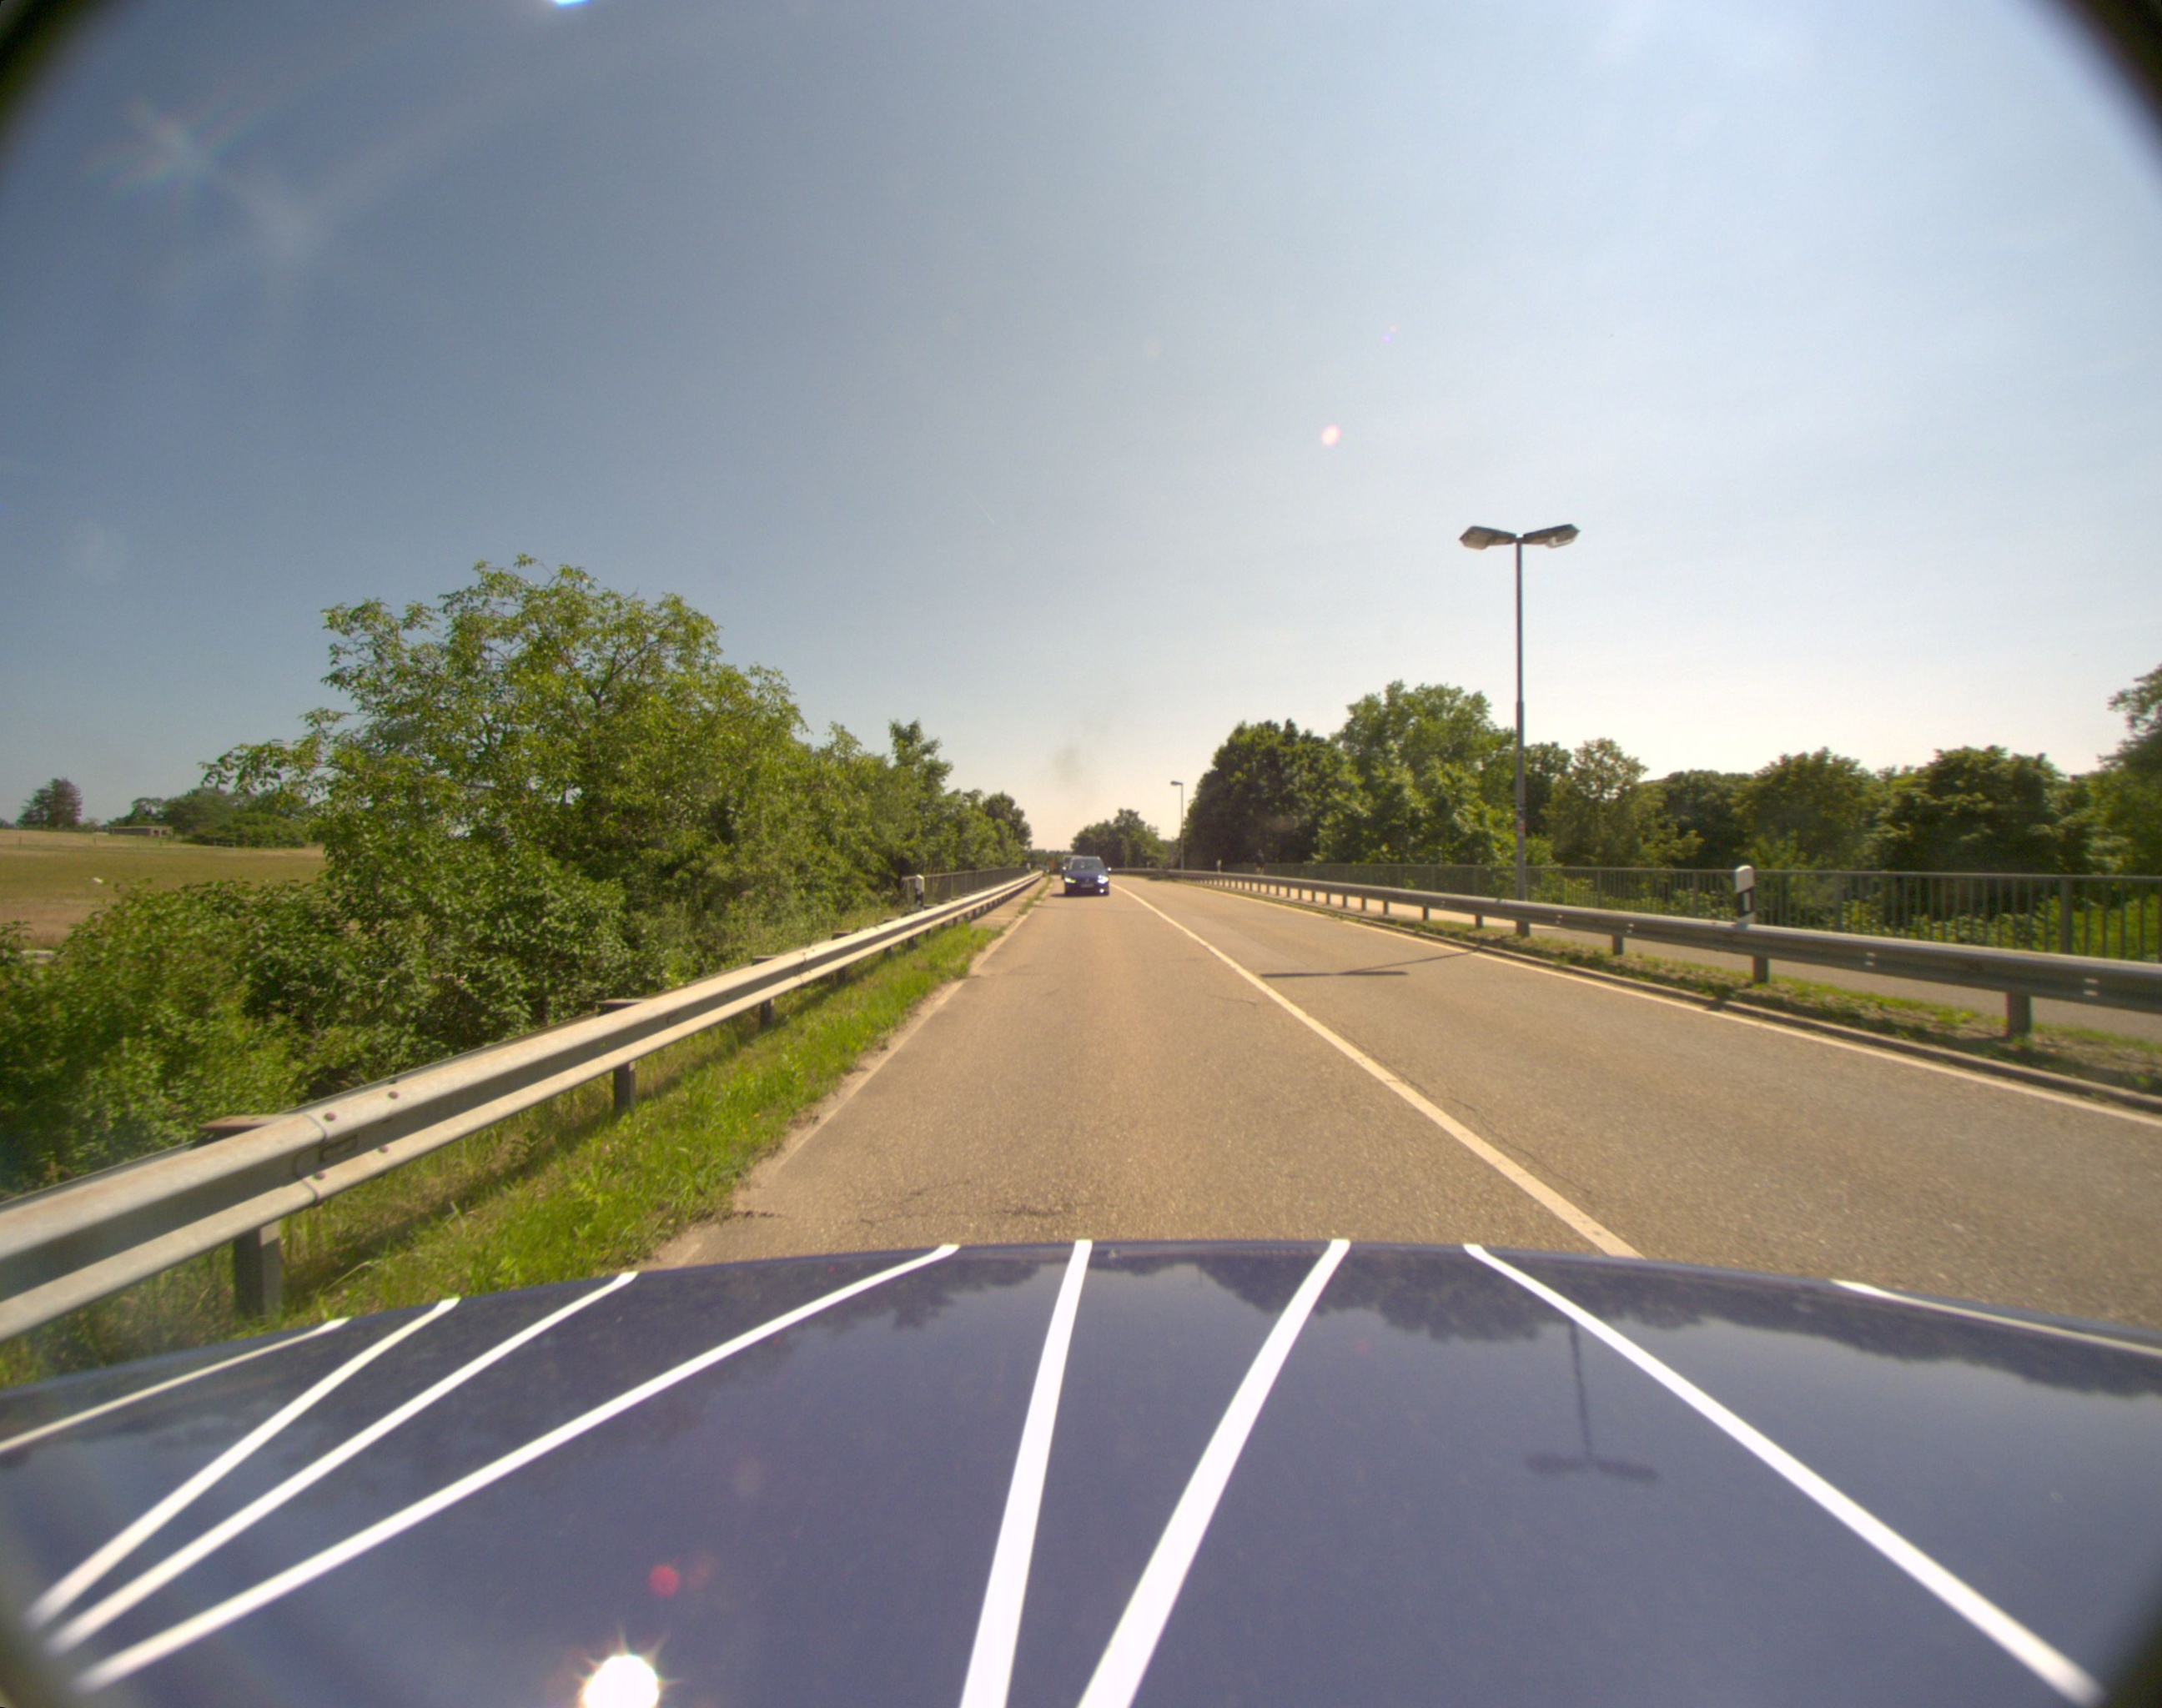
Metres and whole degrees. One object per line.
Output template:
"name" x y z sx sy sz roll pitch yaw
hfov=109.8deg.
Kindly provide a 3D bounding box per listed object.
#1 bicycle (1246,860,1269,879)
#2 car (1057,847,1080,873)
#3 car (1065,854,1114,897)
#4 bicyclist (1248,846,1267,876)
"bicycle" 9.607 0.824 41.505 0.679 0.995 2.118 0 0 -3
"car" -0.973 0.469 62.392 1.779 2.007 3.999 -2 1 0
"car" 0.355 0.836 31.232 1.828 1.591 4.196 -1 0 1
"bicyclist" 9.603 0.382 41.441 0.767 1.624 0.895 -1 0 -3
